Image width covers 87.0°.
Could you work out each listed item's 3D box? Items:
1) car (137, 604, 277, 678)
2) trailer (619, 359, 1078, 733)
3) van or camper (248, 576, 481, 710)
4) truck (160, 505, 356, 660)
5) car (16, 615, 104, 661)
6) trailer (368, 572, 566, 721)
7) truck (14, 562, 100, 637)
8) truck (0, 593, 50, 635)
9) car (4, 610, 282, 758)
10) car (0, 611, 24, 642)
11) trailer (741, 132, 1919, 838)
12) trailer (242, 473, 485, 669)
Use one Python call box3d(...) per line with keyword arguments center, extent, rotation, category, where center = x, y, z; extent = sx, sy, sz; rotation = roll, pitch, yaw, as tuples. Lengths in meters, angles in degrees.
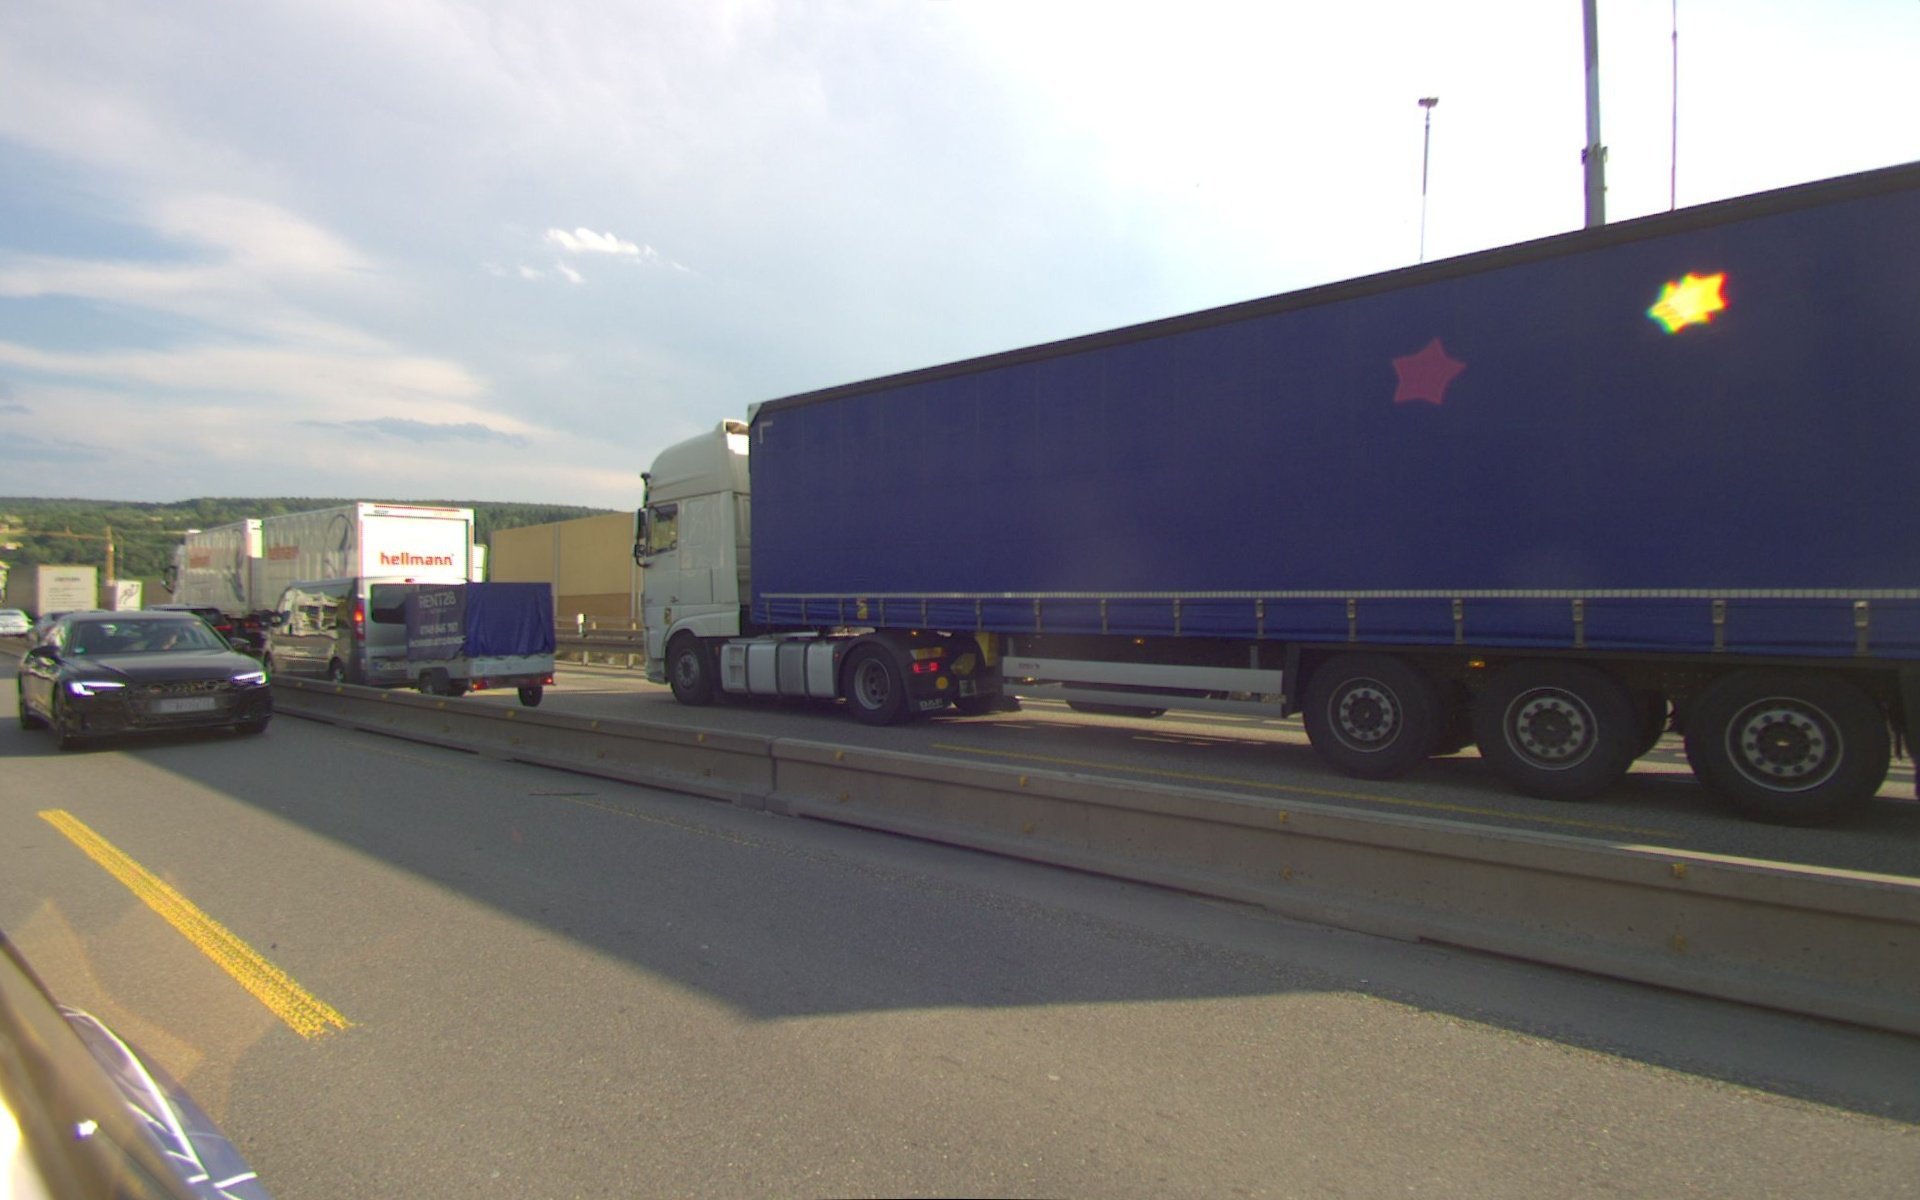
box3d(center=(-17.785, 0.907, 23.849), extent=(3.998, 1.586, 1.837), rotation=(-1, 0, 41), category="car")
box3d(center=(-1.770, -0.572, 14.146), extent=(6.219, 4.067, 2.895), rotation=(-1, 0, 41), category="trailer")
box3d(center=(-9.970, 0.623, 16.745), extent=(5.001, 1.906, 1.844), rotation=(-1, 0, 41), category="van or camper")
box3d(center=(-22.750, -0.453, 32.458), extent=(10.068, 4.295, 2.798), rotation=(-1, 0, 41), category="truck")
box3d(center=(-32.038, 1.303, 35.995), extent=(3.998, 1.519, 1.864), rotation=(-1, 0, 41), category="car")
box3d(center=(-6.933, 0.585, 14.144), extent=(2.983, 1.868, 1.433), rotation=(-1, 0, 41), category="trailer")
box3d(center=(-52.486, 0.002, 58.753), extent=(7.595, 4.092, 2.836), rotation=(-1, 0, 41), category="truck")
box3d(center=(-63.737, 0.936, 68.280), extent=(7.355, 2.718, 2.660), rotation=(-1, 0, 41), category="truck")
box3d(center=(-9.790, 0.856, 12.003), extent=(4.346, 1.430, 1.849), rotation=(-1, -1, 41), category="car")
box3d(center=(-47.364, 1.289, 49.731), extent=(3.230, 1.467, 1.604), rotation=(-1, 0, 40), category="car")
box3d(center=(3.306, -0.635, 9.704), extent=(13.766, 4.067, 2.895), rotation=(-1, 0, 41), category="trailer")
box3d(center=(-15.684, -0.607, 26.240), extent=(8.731, 4.315, 2.798), rotation=(-1, 0, 41), category="trailer")
